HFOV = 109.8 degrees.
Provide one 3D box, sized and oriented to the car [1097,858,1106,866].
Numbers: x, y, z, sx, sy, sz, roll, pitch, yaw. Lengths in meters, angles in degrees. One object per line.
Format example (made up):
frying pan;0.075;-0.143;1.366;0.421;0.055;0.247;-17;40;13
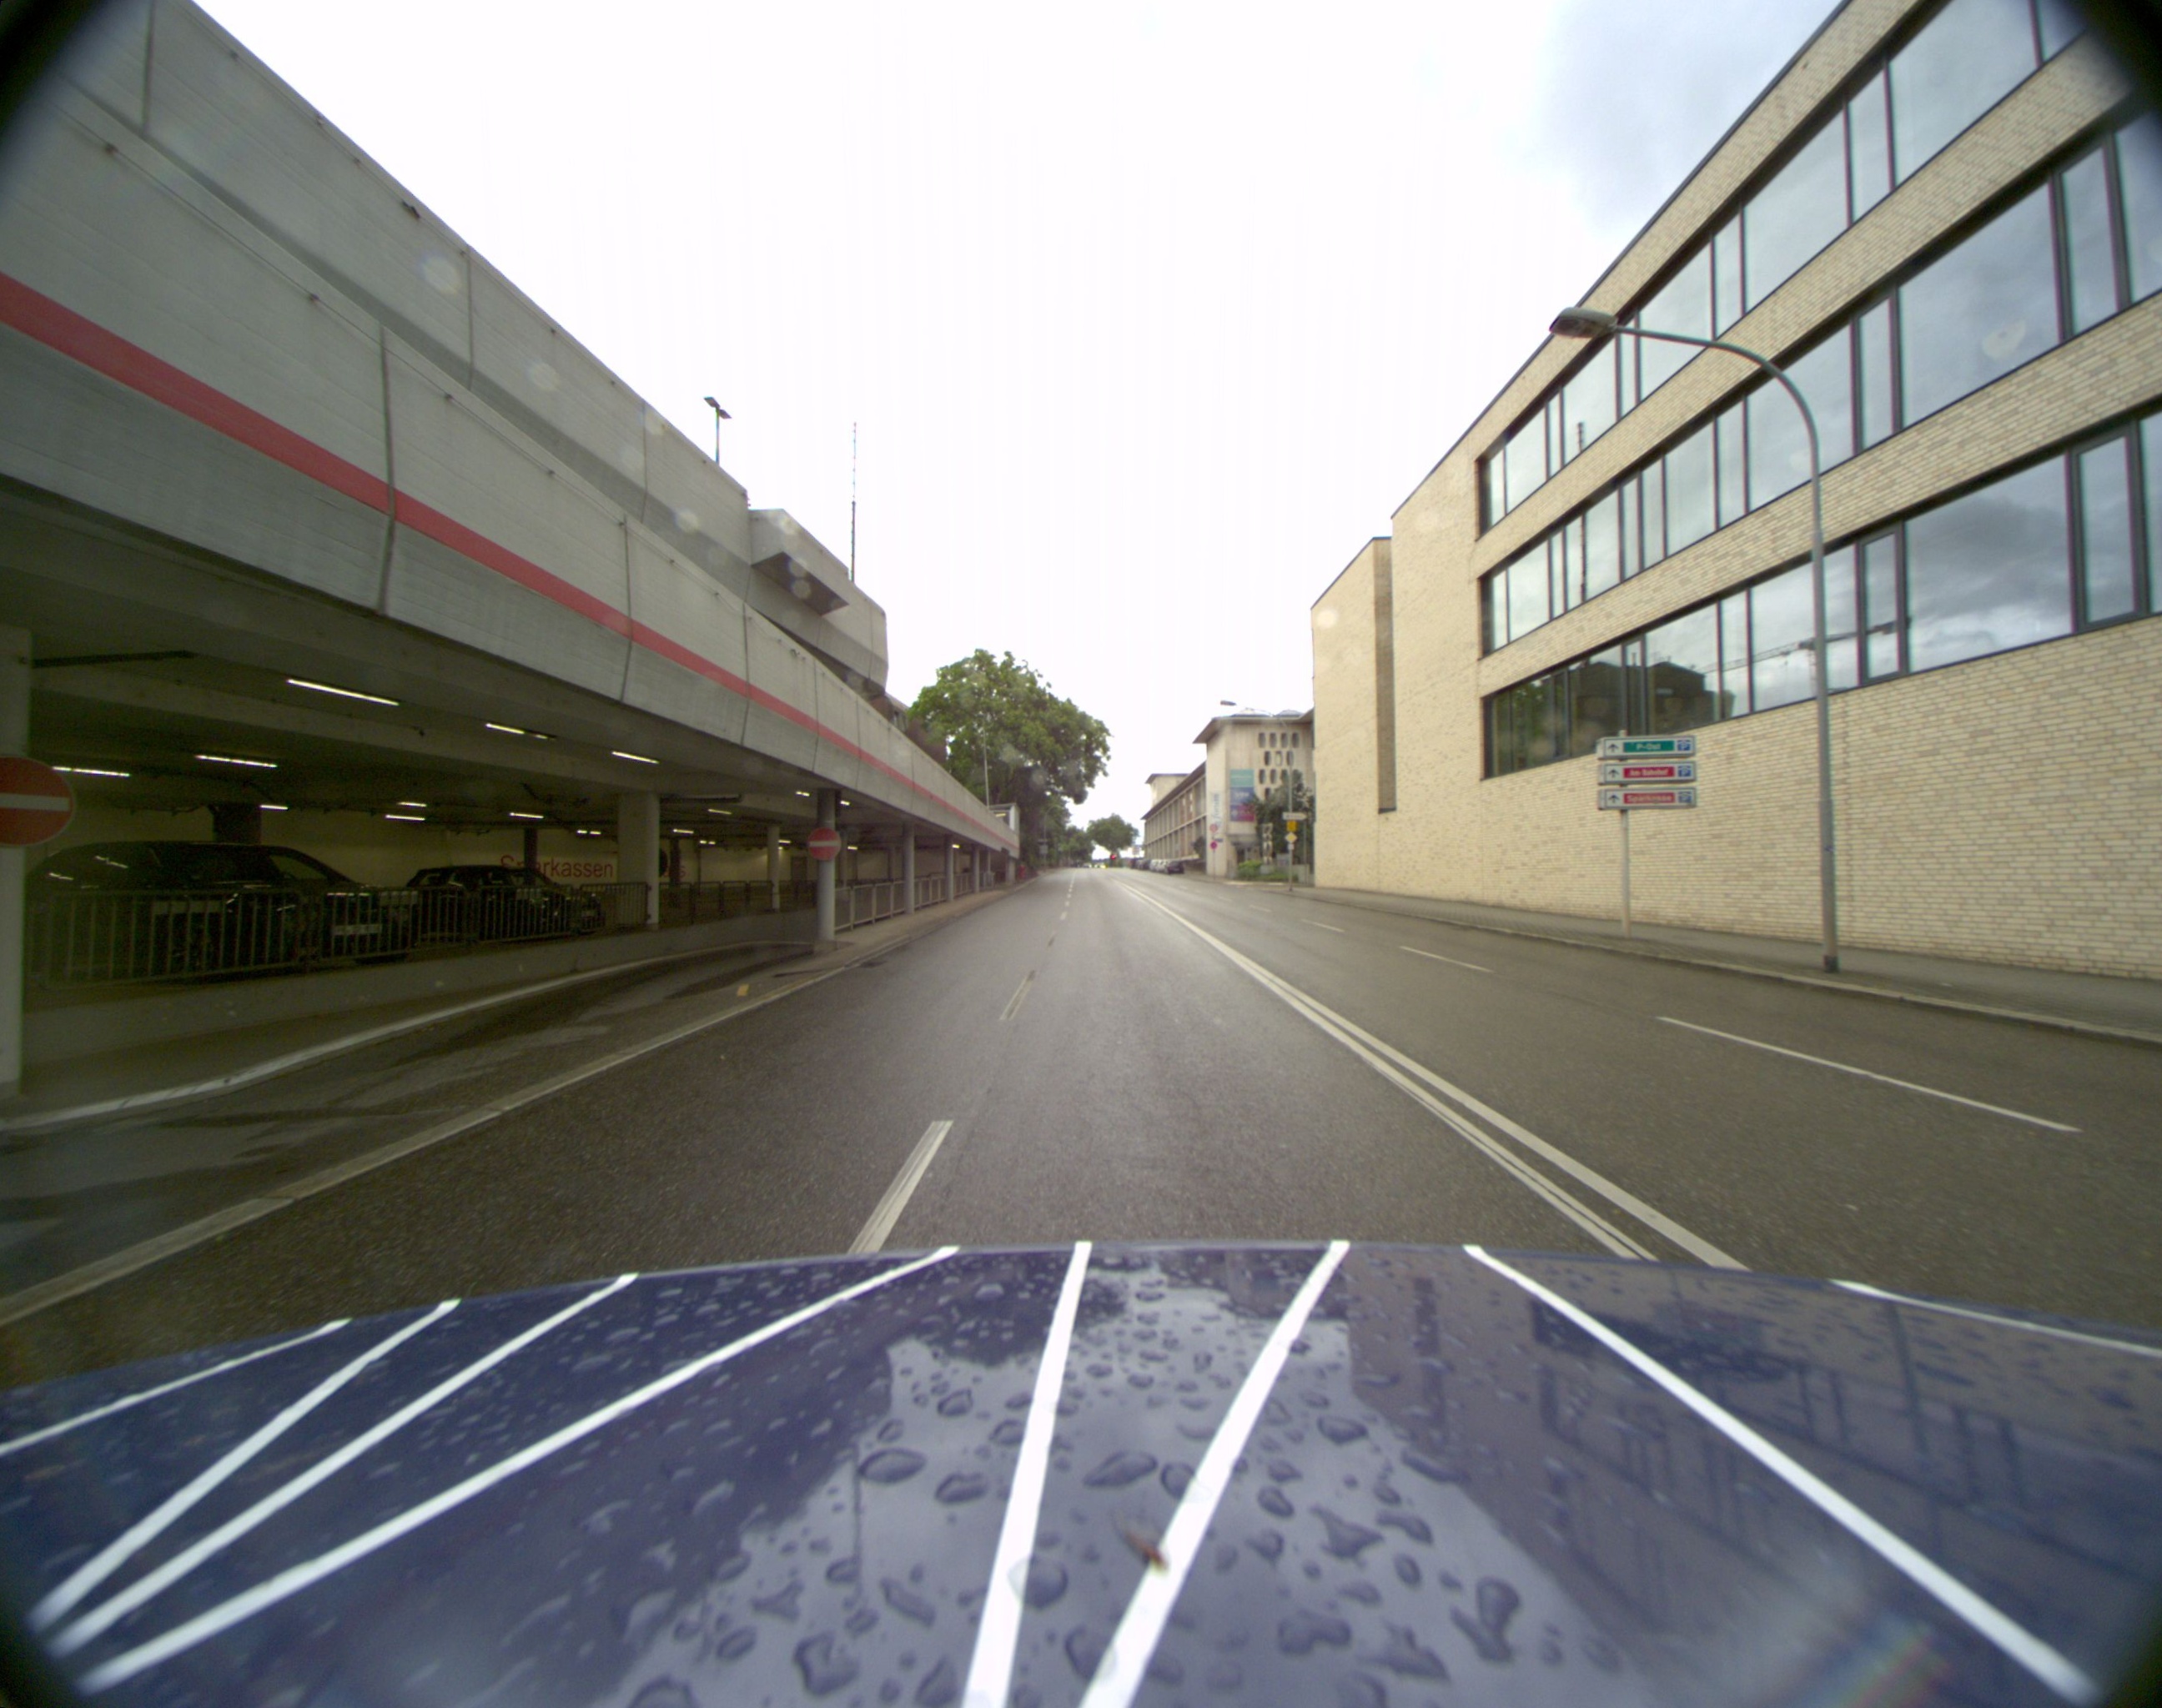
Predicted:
car;5.523;2.089;203.031;1.805;2.002;3.997;-3;1;-5

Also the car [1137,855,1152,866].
car;10.315;1.023;124.289;1.999;1.528;3.999;-3;1;0

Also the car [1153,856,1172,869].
car;10.411;1.099;97.011;1.998;1.482;4.185;-3;1;0

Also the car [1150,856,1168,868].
car;10.581;1.065;103.267;1.999;1.521;3.999;-4;1;-1

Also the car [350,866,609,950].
car;-11.523;0.985;14.697;3.730;1.496;1.808;0;-1;7

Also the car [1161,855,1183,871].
car;10.366;0.954;86.659;1.998;1.632;3.999;-3;1;0

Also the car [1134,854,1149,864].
car;10.584;0.862;133.168;1.999;1.637;3.998;-4;2;-1

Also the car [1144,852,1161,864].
car;10.486;0.598;111.775;1.999;1.701;3.999;-1;1;0

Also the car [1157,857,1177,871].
car;10.376;1.241;92.001;1.998;1.503;4.000;-3;1;1

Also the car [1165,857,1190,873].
car;10.286;1.161;81.278;1.999;1.520;3.999;-3;1;-1

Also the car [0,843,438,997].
car;-10.837;0.767;9.419;4.583;1.630;1.823;-2;1;11

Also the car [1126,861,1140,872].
car;8.587;2.046;124.803;1.998;1.570;3.999;-3;1;0
